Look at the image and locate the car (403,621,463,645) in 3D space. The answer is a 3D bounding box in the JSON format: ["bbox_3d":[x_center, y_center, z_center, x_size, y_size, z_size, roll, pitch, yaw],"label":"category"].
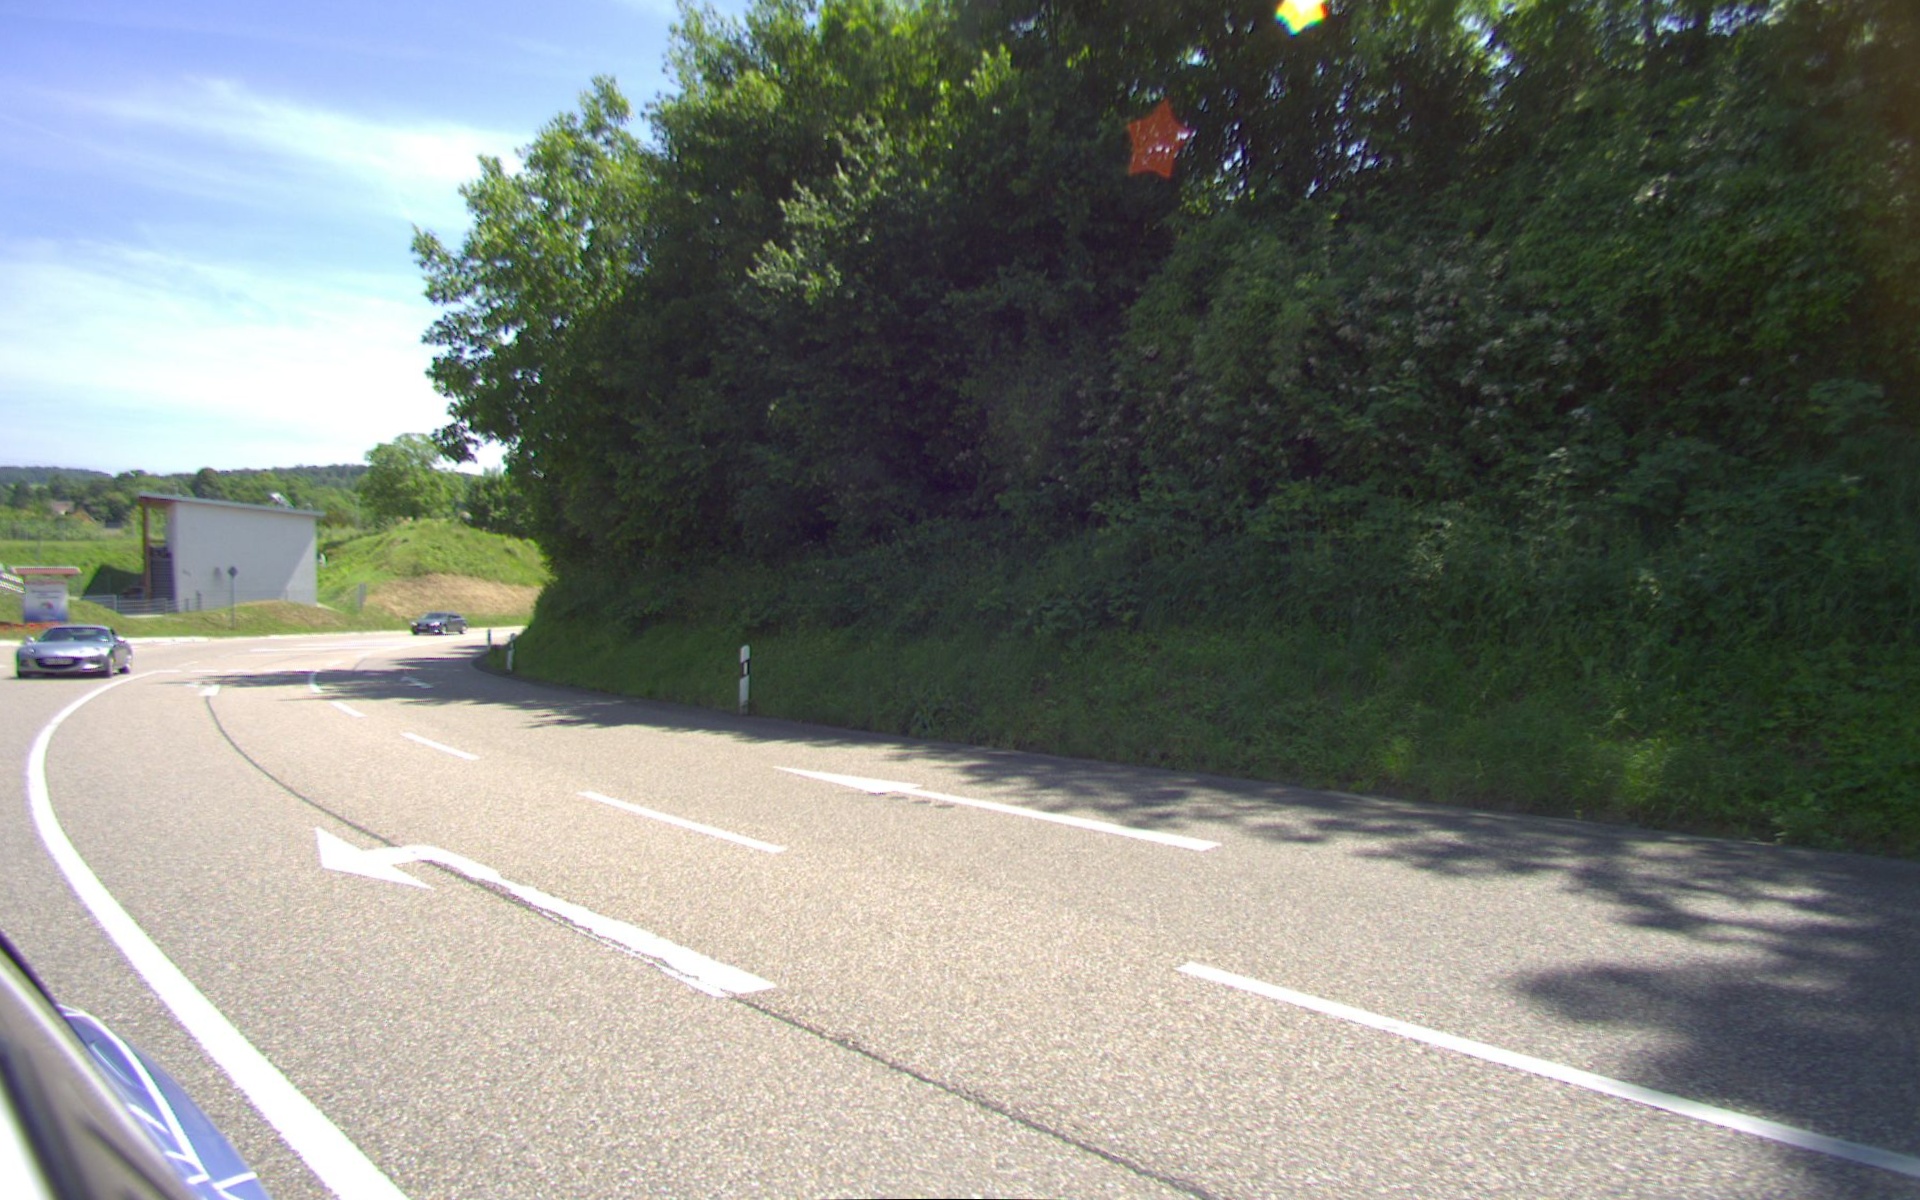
[{"bbox_3d":[-31.566,1.951,60.714,1.730,1.298,4.150,2,-1,-5],"label":"car"}]

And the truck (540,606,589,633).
[{"bbox_3d":[-31.748,1.540,81.385,2.042,2.028,5.248,-1,1,-2],"label":"truck"}]

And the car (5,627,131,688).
[{"bbox_3d":[-21.105,1.311,24.080,1.620,1.332,3.448,1,-2,-31],"label":"car"}]
